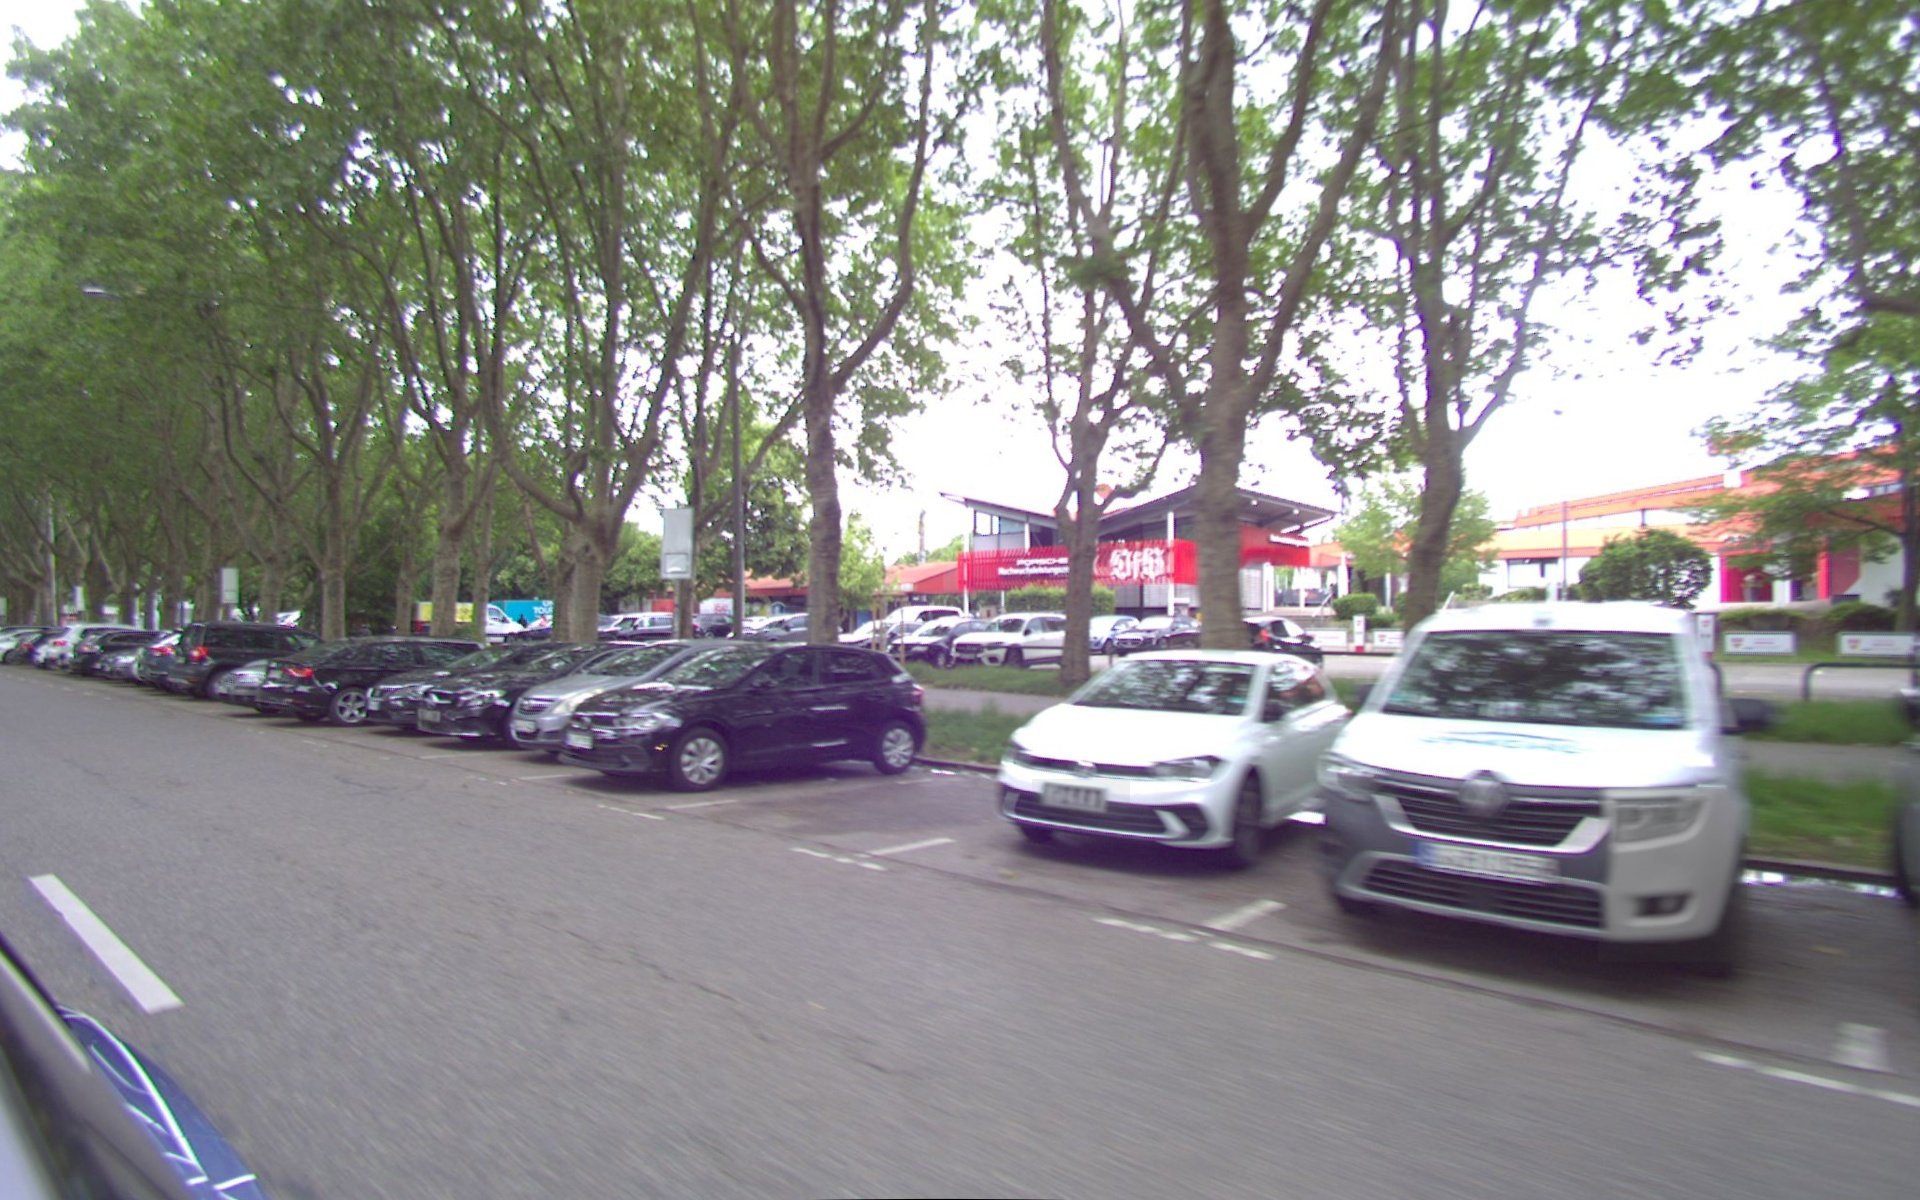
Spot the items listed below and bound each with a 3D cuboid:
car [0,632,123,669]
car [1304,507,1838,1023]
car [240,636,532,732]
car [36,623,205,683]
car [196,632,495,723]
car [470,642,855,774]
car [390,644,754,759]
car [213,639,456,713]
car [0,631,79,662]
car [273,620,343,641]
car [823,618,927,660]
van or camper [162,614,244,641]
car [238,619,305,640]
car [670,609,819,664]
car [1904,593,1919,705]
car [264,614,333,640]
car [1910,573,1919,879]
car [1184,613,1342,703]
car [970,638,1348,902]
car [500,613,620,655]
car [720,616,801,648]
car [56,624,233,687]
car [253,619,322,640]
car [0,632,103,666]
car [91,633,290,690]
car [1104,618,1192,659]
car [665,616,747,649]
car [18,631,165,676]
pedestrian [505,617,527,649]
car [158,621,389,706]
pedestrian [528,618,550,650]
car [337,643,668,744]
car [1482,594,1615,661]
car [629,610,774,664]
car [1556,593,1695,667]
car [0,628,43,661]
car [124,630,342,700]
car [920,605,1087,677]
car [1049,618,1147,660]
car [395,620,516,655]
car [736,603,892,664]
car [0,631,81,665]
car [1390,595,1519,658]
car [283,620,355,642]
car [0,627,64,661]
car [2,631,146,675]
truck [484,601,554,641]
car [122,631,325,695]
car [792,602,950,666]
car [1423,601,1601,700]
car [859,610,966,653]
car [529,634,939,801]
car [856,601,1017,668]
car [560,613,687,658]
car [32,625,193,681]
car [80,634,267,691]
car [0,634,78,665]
[{"bbox_3d":[-37.726,2.078,41.858,2.043,1.455,4.369,-2,-3,35],"label":"car"},{"bbox_3d":[3.638,0.692,5.882,1.864,1.824,4.277,-2,-4,37],"label":"car"},{"bbox_3d":[-9.470,1.339,16.962,1.701,1.409,3.891,-2,-4,39],"label":"car"},{"bbox_3d":[-26.684,1.635,32.251,1.855,1.695,3.945,-1,-1,42],"label":"car"},{"bbox_3d":[-11.249,1.381,18.821,1.701,1.493,4.418,-2,-4,39],"label":"car"},{"bbox_3d":[-3.589,1.247,12.938,1.878,1.380,4.417,-2,-4,40],"label":"car"},{"bbox_3d":[-5.290,1.313,14.288,1.901,1.358,4.415,-2,-4,42],"label":"car"},{"bbox_3d":[-12.877,1.526,21.028,1.825,1.375,3.891,-2,-4,39],"label":"car"},{"bbox_3d":[-45.202,2.219,48.330,2.044,1.406,4.366,-2,-3,37],"label":"car"},{"bbox_3d":[-64.803,3.005,100.665,2.391,2.036,5.399,-1,-1,38],"label":"car"},{"bbox_3d":[-3.959,1.806,47.780,2.180,1.810,4.894,-1,-1,38],"label":"car"},{"bbox_3d":[-64.388,2.305,86.169,2.242,2.115,5.234,-1,-1,38],"label":"van or camper"},{"bbox_3d":[-72.714,3.112,106.940,2.391,2.036,5.399,-1,-1,38],"label":"car"},{"bbox_3d":[-7.489,1.240,35.554,2.180,1.810,4.894,-2,-2,38],"label":"car"},{"bbox_3d":[16.280,0.767,15.548,2.294,1.775,4.473,-1,-1,40],"label":"car"},{"bbox_3d":[-66.860,2.683,102.411,2.391,2.536,5.399,-1,-1,38],"label":"car"},{"bbox_3d":[5.333,0.744,4.036,2.035,1.808,4.273,-1,-1,41],"label":"car"},{"bbox_3d":[7.174,1.258,23.677,2.026,1.875,4.277,-1,-1,40],"label":"car"},{"bbox_3d":[1.759,1.066,7.821,1.758,1.483,3.755,-1,-3,30],"label":"car"},{"bbox_3d":[-17.638,1.537,44.778,1.998,1.734,4.508,-1,-3,38],"label":"car"},{"bbox_3d":[-10.592,1.684,53.901,1.996,1.562,3.983,-1,-1,36],"label":"car"},{"bbox_3d":[-24.561,1.602,30.568,1.855,1.695,3.945,-1,-1,42],"label":"car"},{"bbox_3d":[-69.280,3.051,104.329,2.391,2.036,5.399,-1,-3,38],"label":"car"},{"bbox_3d":[-39.720,2.088,43.371,1.783,1.428,4.360,-2,-4,42],"label":"car"},{"bbox_3d":[-20.668,1.630,27.319,1.701,1.431,3.953,-2,-4,39],"label":"car"},{"bbox_3d":[6.995,1.400,37.465,1.505,1.382,3.948,-1,-1,39],"label":"car"},{"bbox_3d":[-13.596,1.722,54.361,1.996,1.638,3.951,-1,-1,36],"label":"car"},{"bbox_3d":[-31.995,1.941,37.355,1.855,1.464,3.945,-1,-1,42],"label":"car"},{"bbox_3d":[-25.621,1.894,58.407,0.917,1.814,0.808,-1,-1,41],"label":"pedestrian"},{"bbox_3d":[-15.173,1.382,22.545,1.750,1.721,3.891,-2,-4,39],"label":"car"},{"bbox_3d":[-24.586,1.954,59.109,0.917,1.814,0.932,0,0,41],"label":"pedestrian"},{"bbox_3d":[-7.104,1.413,16.123,1.858,1.377,4.418,-2,-4,39],"label":"car"},{"bbox_3d":[17.675,0.770,30.302,4.525,1.869,2.298,0,-1,-44],"label":"car"},{"bbox_3d":[-9.491,1.302,37.469,2.180,1.810,4.894,-1,-1,38],"label":"car"},{"bbox_3d":[18.564,0.777,28.165,4.525,1.869,2.298,0,-1,-44],"label":"car"},{"bbox_3d":[-49.645,2.254,51.309,2.045,1.639,4.364,-2,-3,39],"label":"car"},{"bbox_3d":[-17.141,1.513,23.992,1.728,1.528,3.888,-2,-4,42],"label":"car"},{"bbox_3d":[1.305,1.083,28.097,2.180,1.810,4.894,-2,-2,38],"label":"car"},{"bbox_3d":[5.368,1.459,38.995,1.998,1.438,3.948,-1,-1,39],"label":"car"},{"bbox_3d":[-26.346,1.917,52.969,2.093,1.608,5.295,-1,-1,39],"label":"car"},{"bbox_3d":[-4.673,1.020,33.043,2.180,1.810,4.894,-1,-1,38],"label":"car"},{"bbox_3d":[-41.843,2.110,44.669,1.774,1.435,4.363,-2,-4,39],"label":"car"},{"bbox_3d":[15.841,0.802,32.314,4.525,1.869,2.298,0,-1,-44],"label":"car"},{"bbox_3d":[-61.554,2.944,97.223,2.473,2.013,5.399,-1,-1,38],"label":"car"},{"bbox_3d":[-47.142,2.165,49.715,2.044,1.639,4.366,-2,-3,37],"label":"car"},{"bbox_3d":[-33.660,1.965,38.528,1.855,1.464,3.945,-1,-1,42],"label":"car"},{"bbox_3d":[-31.605,1.488,72.578,2.375,2.737,3.947,-1,-1,39],"label":"truck"},{"bbox_3d":[-18.706,1.589,25.828,3.947,1.497,1.704,3,-4,-45],"label":"car"},{"bbox_3d":[-2.688,0.991,31.622,2.180,1.810,4.894,-1,-1,38],"label":"car"},{"bbox_3d":[11.098,0.900,20.180,2.294,1.738,4.506,-1,-1,40],"label":"car"},{"bbox_3d":[-2.092,1.371,46.074,2.180,1.810,4.894,-1,-1,38],"label":"car"},{"bbox_3d":[-2.237,1.133,10.777,1.756,1.432,3.934,-2,-4,44],"label":"car"},{"bbox_3d":[-0.607,0.960,30.156,2.180,1.810,4.894,-1,-1,38],"label":"car"},{"bbox_3d":[-13.634,1.468,41.236,1.998,1.734,4.508,-1,-3,38],"label":"car"},{"bbox_3d":[-28.386,1.721,33.987,1.855,1.695,3.945,-1,-1,42],"label":"car"},{"bbox_3d":[-22.497,1.733,29.064,1.842,1.379,3.947,-1,-1,39],"label":"car"},{"bbox_3d":[-43.722,2.288,46.642,1.722,1.406,4.365,-2,-3,38],"label":"car"}]
